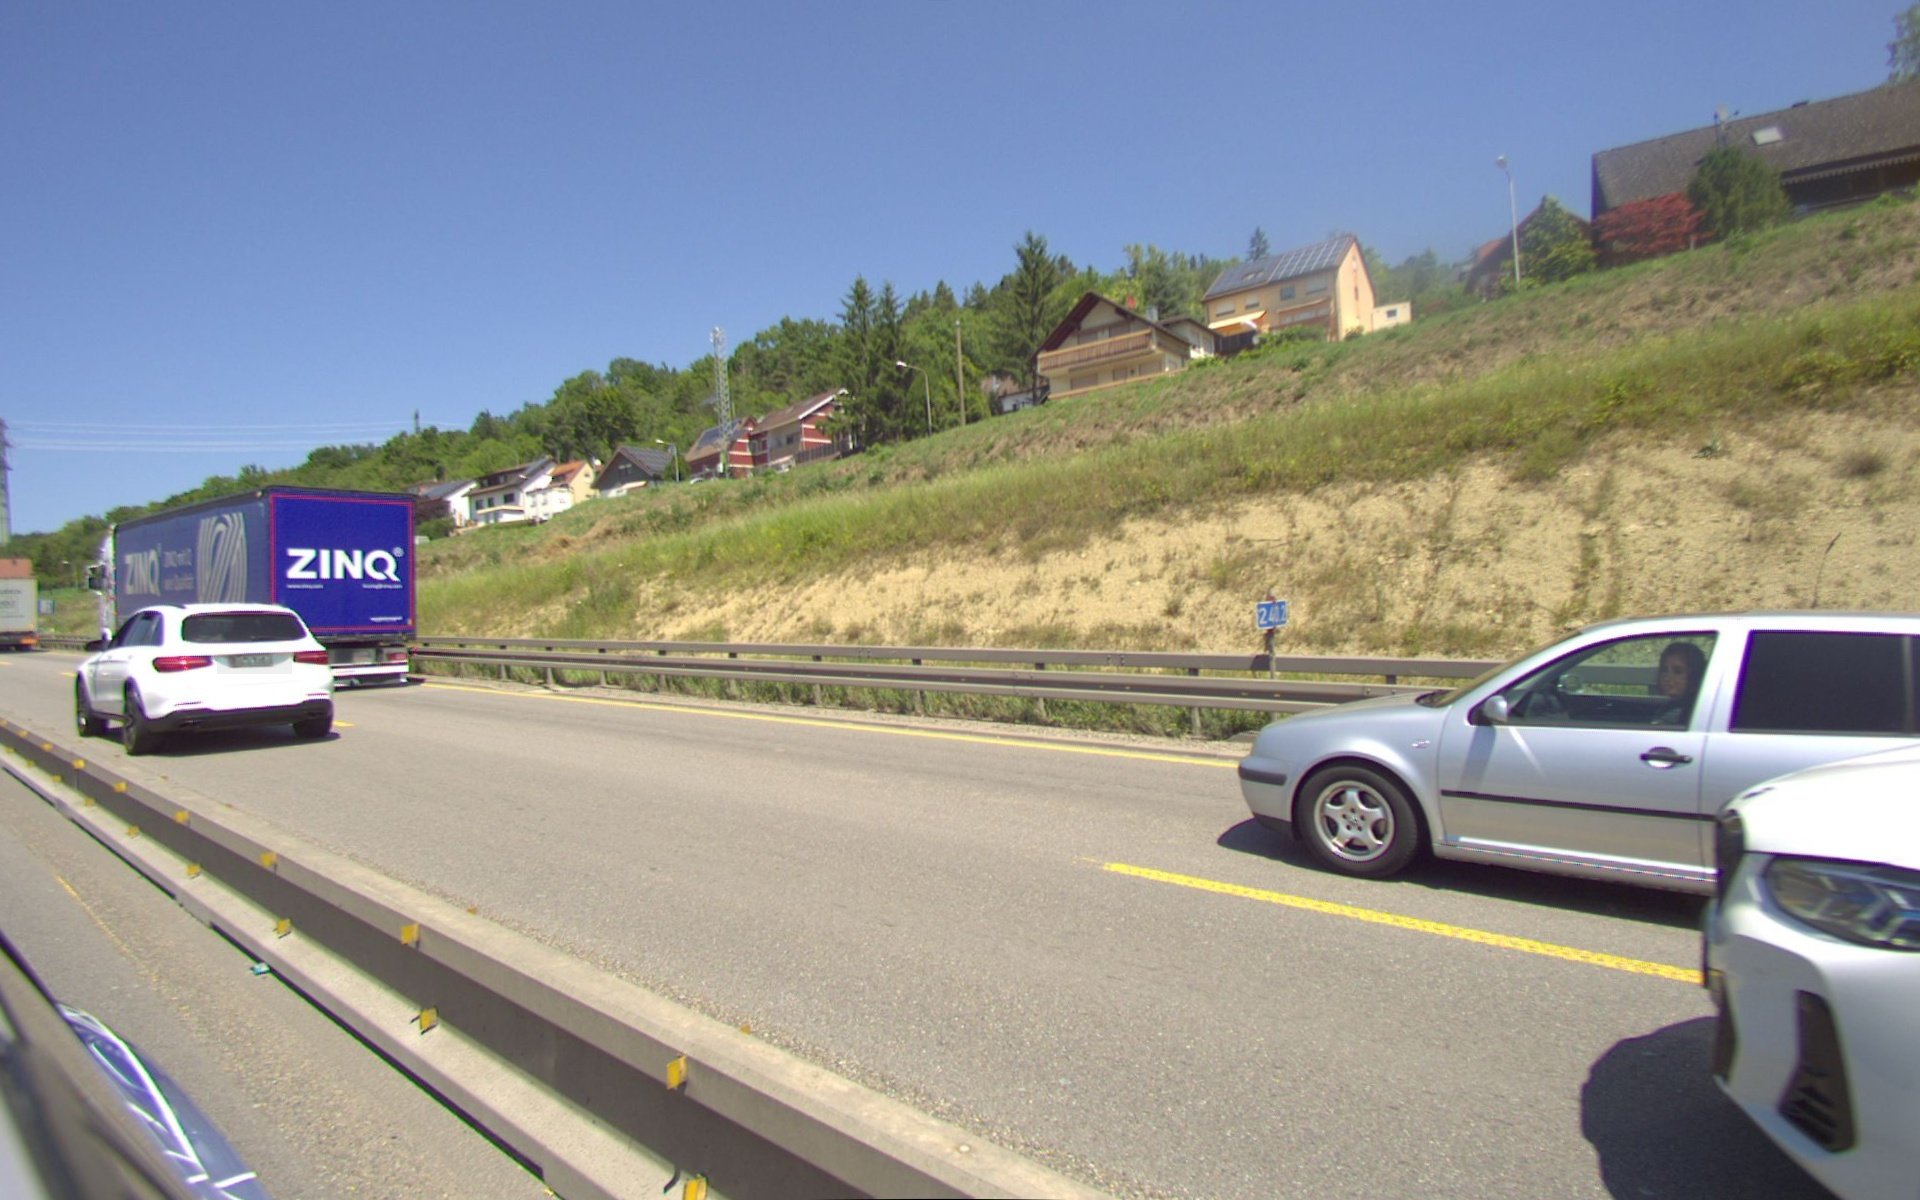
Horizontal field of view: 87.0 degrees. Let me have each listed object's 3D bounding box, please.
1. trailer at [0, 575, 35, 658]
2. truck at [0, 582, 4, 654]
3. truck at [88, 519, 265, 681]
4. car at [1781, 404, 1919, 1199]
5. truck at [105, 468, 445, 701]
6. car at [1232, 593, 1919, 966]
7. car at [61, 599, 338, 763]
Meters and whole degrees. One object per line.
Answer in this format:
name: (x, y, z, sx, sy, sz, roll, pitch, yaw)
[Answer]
trailer: (-55.358, 1.016, 57.285, 14.026, 4.319, 2.782, -2, -1, 41)
truck: (-60.716, 1.168, 61.919, 4.673, 4.319, 2.746, -2, -1, 41)
truck: (-22.318, 0.038, 28.793, 4.245, 4.191, 3.206, -2, -1, 41)
car: (3.817, 0.479, 1.041, 4.558, 1.721, 1.871, -2, 0, 41)
truck: (-16.826, -0.147, 24.015, 13.970, 4.191, 3.210, -2, -1, 41)
car: (3.561, 0.687, 4.942, 3.964, 1.389, 1.684, -2, 0, 41)
car: (-9.345, 0.857, 12.300, 4.359, 1.650, 1.794, -2, -1, 41)
